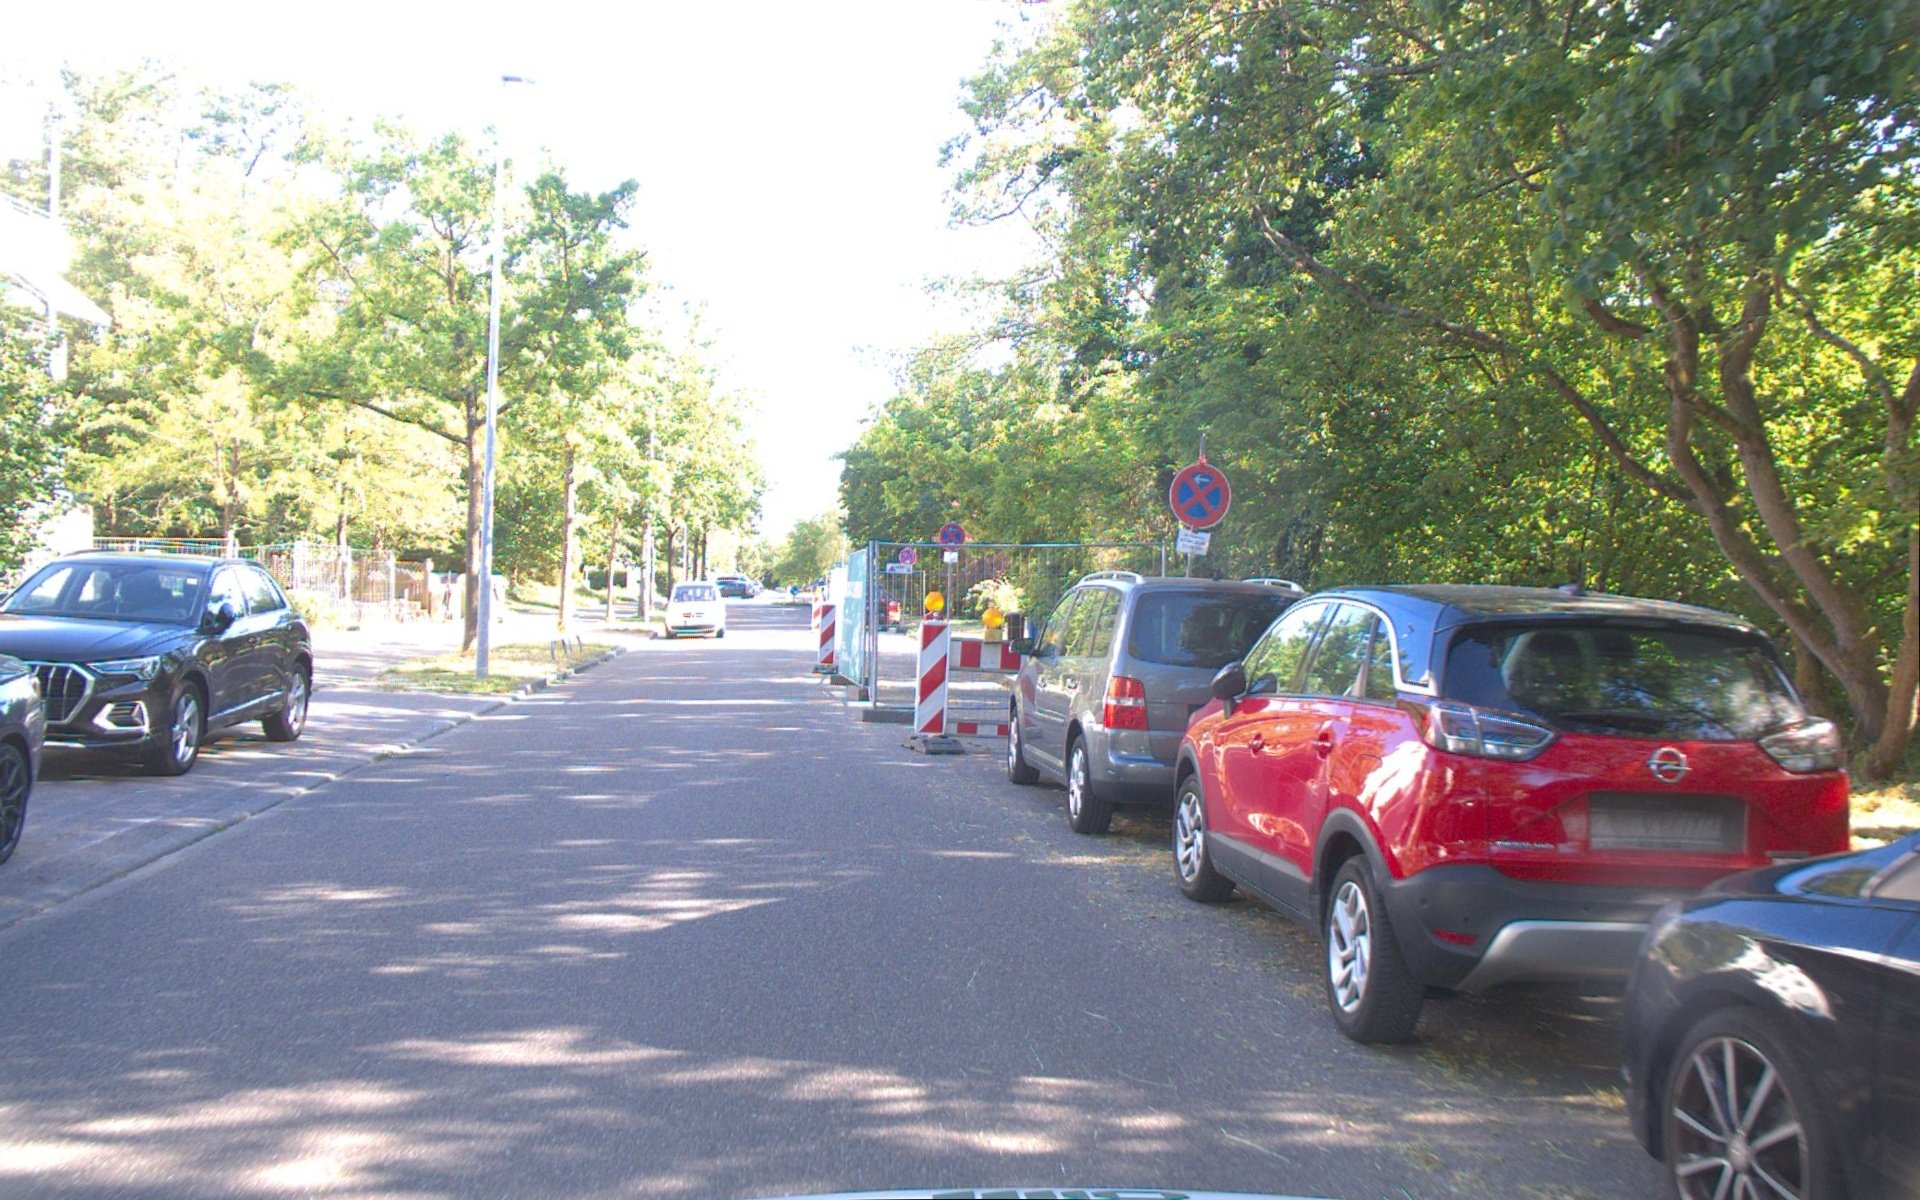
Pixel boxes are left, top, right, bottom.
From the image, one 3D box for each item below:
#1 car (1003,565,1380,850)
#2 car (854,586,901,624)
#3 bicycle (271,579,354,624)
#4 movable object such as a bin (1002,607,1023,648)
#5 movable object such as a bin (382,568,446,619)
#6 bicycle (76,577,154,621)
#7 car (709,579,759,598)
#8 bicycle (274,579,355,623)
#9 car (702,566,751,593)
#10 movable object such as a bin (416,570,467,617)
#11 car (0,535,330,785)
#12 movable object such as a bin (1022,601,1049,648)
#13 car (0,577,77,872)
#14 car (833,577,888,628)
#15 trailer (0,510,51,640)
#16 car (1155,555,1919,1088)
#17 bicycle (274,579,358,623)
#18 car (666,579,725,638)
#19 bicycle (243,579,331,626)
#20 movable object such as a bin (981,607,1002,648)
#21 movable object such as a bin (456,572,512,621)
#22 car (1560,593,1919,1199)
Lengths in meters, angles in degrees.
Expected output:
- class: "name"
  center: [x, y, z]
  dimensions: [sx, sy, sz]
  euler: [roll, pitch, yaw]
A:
- class: "car"
  center: [1.445, 0.625, 11.895]
  dimensions: [1.647, 1.650, 4.131]
  euler: [2, 0, -7]
- class: "car"
  center: [-3.361, 0.176, 66.785]
  dimensions: [1.629, 1.399, 4.150]
  euler: [3, 0, -6]
- class: "bicycle"
  center: [-15.721, 0.034, 40.195]
  dimensions: [1.830, 1.045, 0.398]
  euler: [1, -1, -19]
- class: "movable object such as a bin"
  center: [1.163, 0.600, 36.537]
  dimensions: [0.405, 0.885, 0.484]
  euler: [-1, 0, -5]
- class: "movable object such as a bin"
  center: [-16.183, -0.191, 49.030]
  dimensions: [1.243, 1.460, 1.326]
  euler: [1, 0, 22]
- class: "bicycle"
  center: [-20.659, -0.016, 40.439]
  dimensions: [1.660, 1.045, 0.400]
  euler: [1, -1, -1]
- class: "car"
  center: [-21.158, -1.089, 154.939]
  dimensions: [4.229, 1.604, 2.046]
  euler: [3, 0, 1]
- class: "bicycle"
  center: [-15.830, 0.029, 40.608]
  dimensions: [1.810, 1.045, 0.398]
  euler: [1, -1, -19]
- class: "car"
  center: [-25.387, -2.202, 179.844]
  dimensions: [5.107, 2.666, 2.288]
  euler: [3, 0, -11]
- class: "movable object such as a bin"
  center: [-16.267, -0.202, 51.887]
  dimensions: [1.134, 1.460, 1.255]
  euler: [0, 0, -39]
- class: "car"
  center: [-6.586, 0.368, 13.298]
  dimensions: [1.741, 1.650, 4.215]
  euler: [3, 0, -6]
- class: "movable object such as a bin"
  center: [1.675, 0.527, 36.526]
  dimensions: [0.508, 1.017, 0.607]
  euler: [-1, 0, -5]
- class: "car"
  center: [-5.401, 0.607, 6.928]
  dimensions: [1.685, 1.457, 4.128]
  euler: [3, 0, -9]
- class: "car"
  center: [-3.580, 0.071, 59.958]
  dimensions: [1.774, 1.679, 4.419]
  euler: [3, 0, -2]
- class: "trailer"
  center: [-16.812, -0.461, 26.778]
  dimensions: [1.826, 2.157, 4.344]
  euler: [3, 0, -2]
- class: "car"
  center: [2.083, 0.672, 7.107]
  dimensions: [1.646, 1.601, 4.062]
  euler: [2, 0, -5]
- class: "bicycle"
  center: [-15.977, 0.029, 41.058]
  dimensions: [1.885, 1.045, 0.398]
  euler: [1, -1, -19]
- class: "car"
  center: [-7.808, 0.226, 49.042]
  dimensions: [1.628, 1.624, 4.001]
  euler: [1, 0, -8]
- class: "bicycle"
  center: [-15.582, 0.056, 38.314]
  dimensions: [1.840, 1.045, 0.398]
  euler: [1, -1, -19]
- class: "movable object such as a bin"
  center: [0.690, 0.606, 36.433]
  dimensions: [0.405, 0.885, 0.484]
  euler: [-1, 0, -5]
- class: "movable object such as a bin"
  center: [-14.510, -0.106, 50.427]
  dimensions: [1.242, 1.460, 1.182]
  euler: [1, 0, 10]
- class: "car"
  center: [2.755, 0.806, 2.486]
  dimensions: [1.680, 1.535, 4.141]
  euler: [2, 0, -9]
